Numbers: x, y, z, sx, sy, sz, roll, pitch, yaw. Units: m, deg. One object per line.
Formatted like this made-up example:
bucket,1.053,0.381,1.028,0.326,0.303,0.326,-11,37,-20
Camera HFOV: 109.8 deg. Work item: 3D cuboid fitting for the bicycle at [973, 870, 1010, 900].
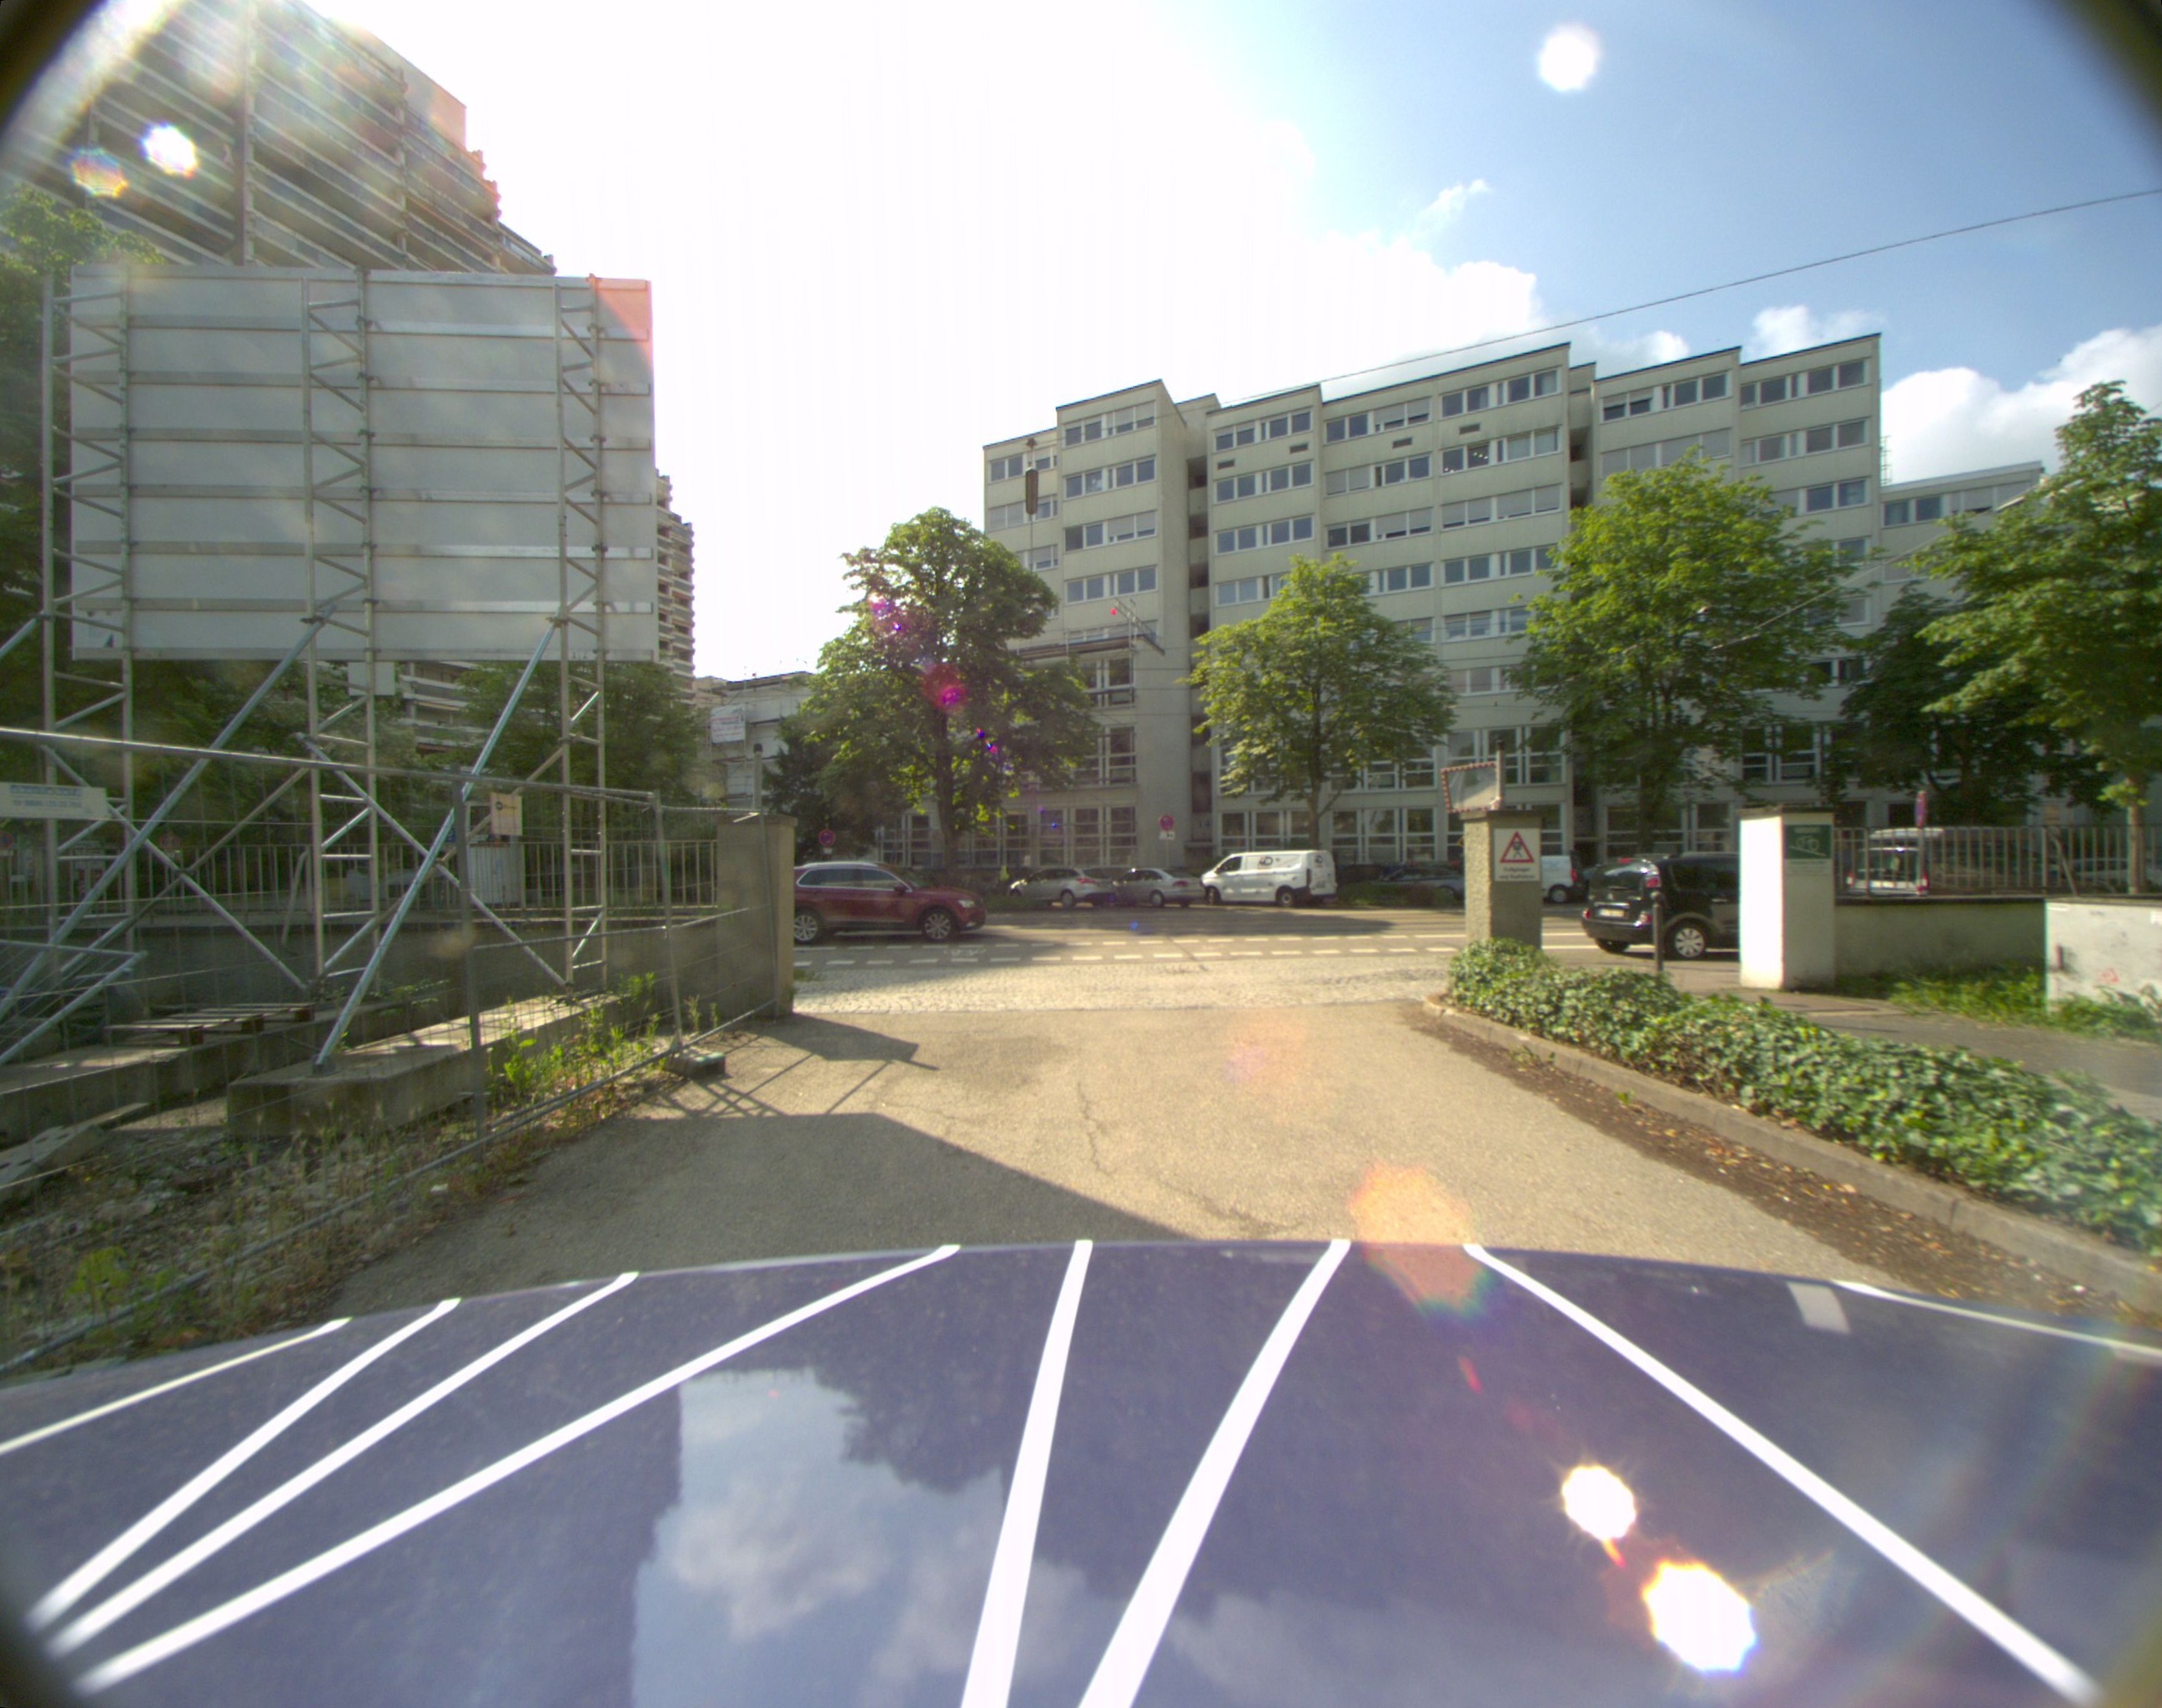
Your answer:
bicycle,-4.009,1.364,34.179,0.496,1.081,2.058,-4,3,27

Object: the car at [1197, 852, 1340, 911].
car,6.583,0.926,27.045,1.937,1.900,4.628,1,-1,-43

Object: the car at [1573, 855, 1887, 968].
car,10.110,0.853,12.015,3.582,1.602,1.679,-1,0,-2

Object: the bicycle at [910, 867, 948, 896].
bicycle,-7.130,1.288,35.801,0.496,1.081,2.058,-4,3,27

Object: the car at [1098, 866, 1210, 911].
car,2.617,1.219,27.748,3.773,1.467,1.729,-2,0,45

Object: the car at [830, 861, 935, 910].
car,-7.205,1.108,27.309,1.762,1.454,3.989,-8,4,-44

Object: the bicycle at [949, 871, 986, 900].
bicycle,-5.227,1.434,35.150,0.496,1.081,2.058,-4,3,27

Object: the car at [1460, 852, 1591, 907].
car,16.221,0.937,27.785,3.749,1.703,1.886,-3,4,42

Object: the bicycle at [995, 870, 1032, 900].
bicycle,-3.012,1.361,34.097,0.496,1.081,2.058,-4,3,27

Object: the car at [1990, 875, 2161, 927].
car,36.144,1.734,27.767,1.636,1.568,3.597,-6,-1,-41

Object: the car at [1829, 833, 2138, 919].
car,20.358,0.487,17.291,4.834,1.763,1.947,-1,-1,-2

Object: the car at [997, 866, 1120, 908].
car,-0.887,1.218,27.851,4.450,1.417,1.744,-3,-3,41

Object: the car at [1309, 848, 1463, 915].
car,10.583,0.883,26.633,1.906,1.987,4.560,-8,5,-43

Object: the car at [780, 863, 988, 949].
car,-4.029,1.052,16.066,3.969,1.602,1.678,-1,1,-3

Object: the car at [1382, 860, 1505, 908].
car,13.179,1.093,27.691,3.627,1.492,1.765,-3,3,40
